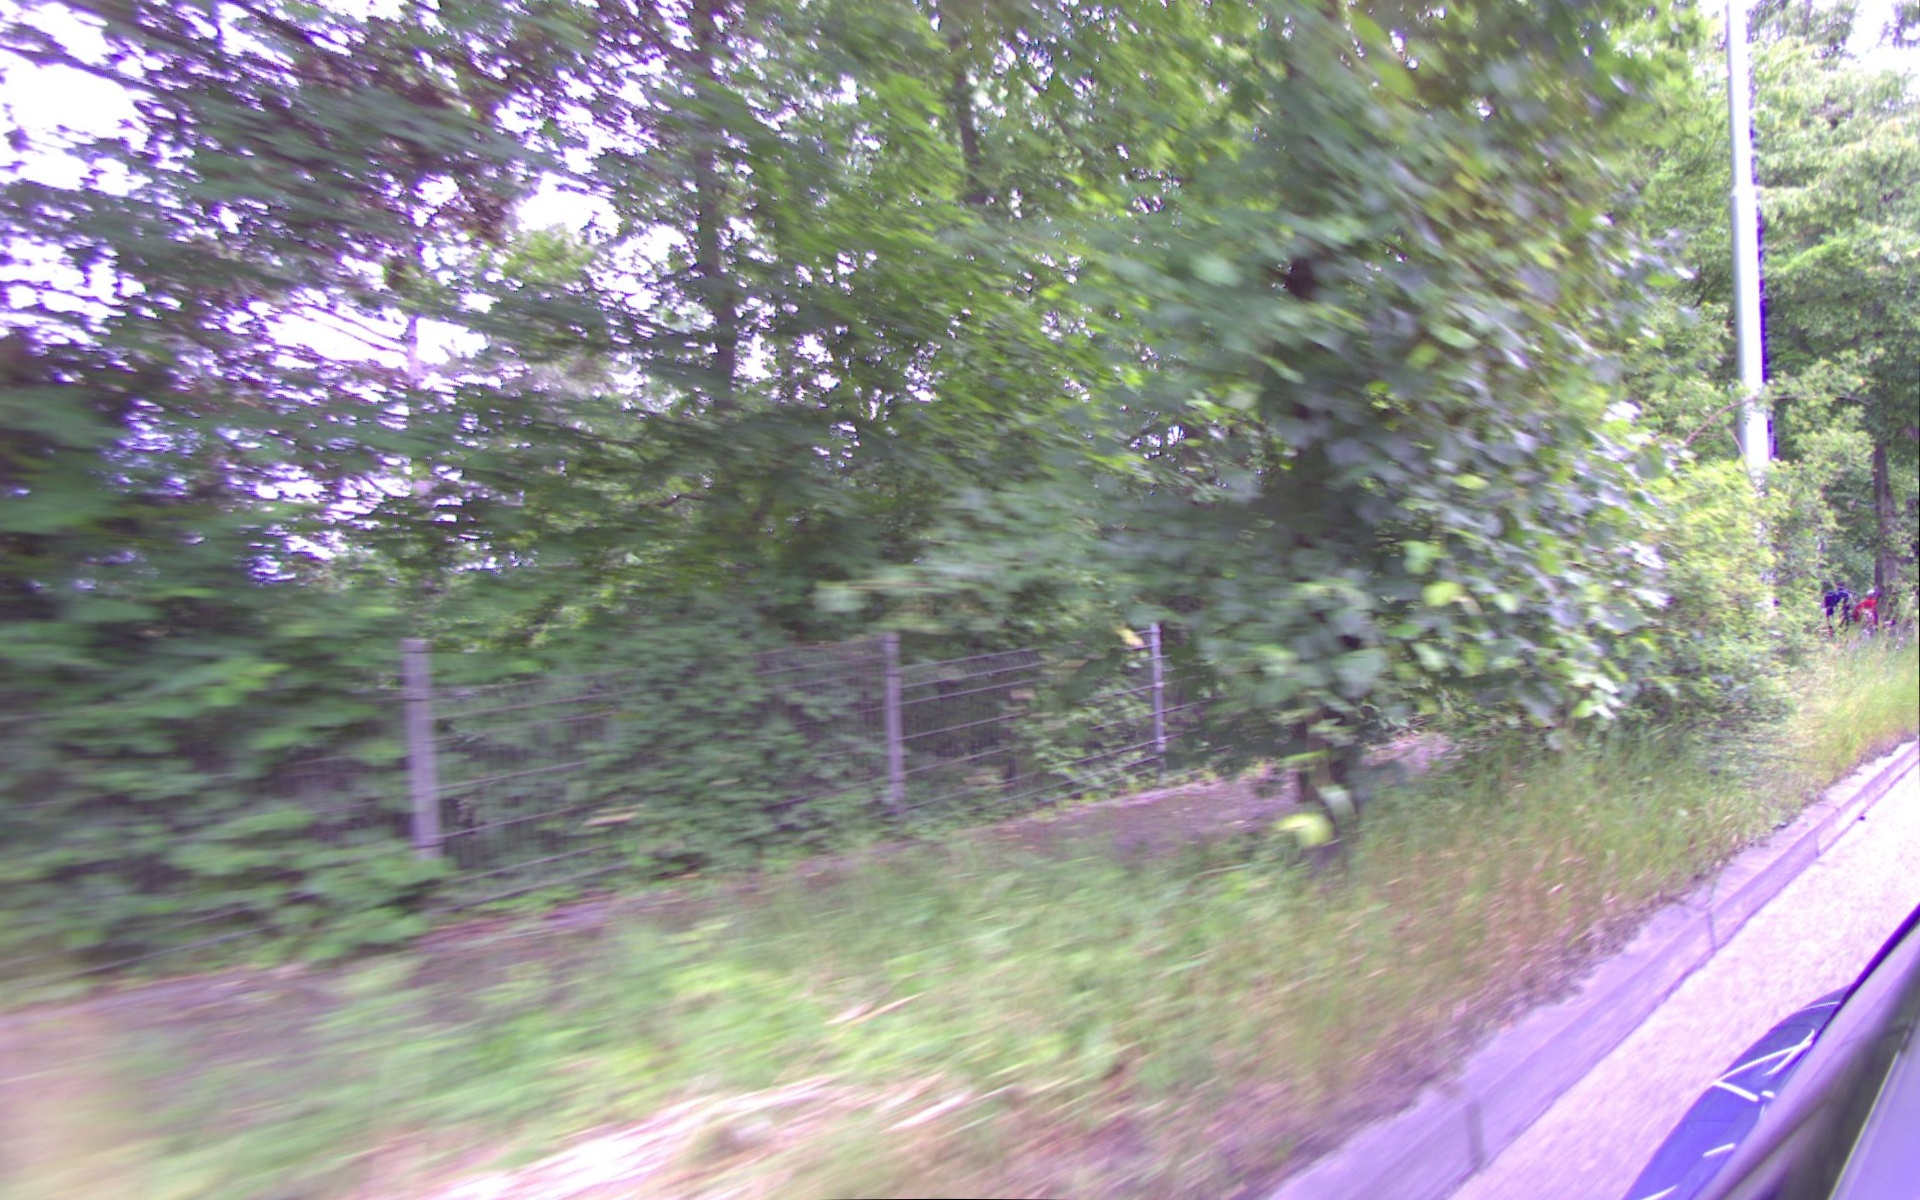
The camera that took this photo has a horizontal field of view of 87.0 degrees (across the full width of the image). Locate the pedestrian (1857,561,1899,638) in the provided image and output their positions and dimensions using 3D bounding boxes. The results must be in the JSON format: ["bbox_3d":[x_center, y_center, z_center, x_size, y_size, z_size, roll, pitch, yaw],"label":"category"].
[{"bbox_3d":[21.059,-0.019,23.223,0.540,1.718,0.609,-1,3,-44],"label":"pedestrian"}]

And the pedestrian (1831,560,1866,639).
[{"bbox_3d":[20.363,-0.010,23.193,0.516,1.776,0.519,-1,-2,-44],"label":"pedestrian"}]
